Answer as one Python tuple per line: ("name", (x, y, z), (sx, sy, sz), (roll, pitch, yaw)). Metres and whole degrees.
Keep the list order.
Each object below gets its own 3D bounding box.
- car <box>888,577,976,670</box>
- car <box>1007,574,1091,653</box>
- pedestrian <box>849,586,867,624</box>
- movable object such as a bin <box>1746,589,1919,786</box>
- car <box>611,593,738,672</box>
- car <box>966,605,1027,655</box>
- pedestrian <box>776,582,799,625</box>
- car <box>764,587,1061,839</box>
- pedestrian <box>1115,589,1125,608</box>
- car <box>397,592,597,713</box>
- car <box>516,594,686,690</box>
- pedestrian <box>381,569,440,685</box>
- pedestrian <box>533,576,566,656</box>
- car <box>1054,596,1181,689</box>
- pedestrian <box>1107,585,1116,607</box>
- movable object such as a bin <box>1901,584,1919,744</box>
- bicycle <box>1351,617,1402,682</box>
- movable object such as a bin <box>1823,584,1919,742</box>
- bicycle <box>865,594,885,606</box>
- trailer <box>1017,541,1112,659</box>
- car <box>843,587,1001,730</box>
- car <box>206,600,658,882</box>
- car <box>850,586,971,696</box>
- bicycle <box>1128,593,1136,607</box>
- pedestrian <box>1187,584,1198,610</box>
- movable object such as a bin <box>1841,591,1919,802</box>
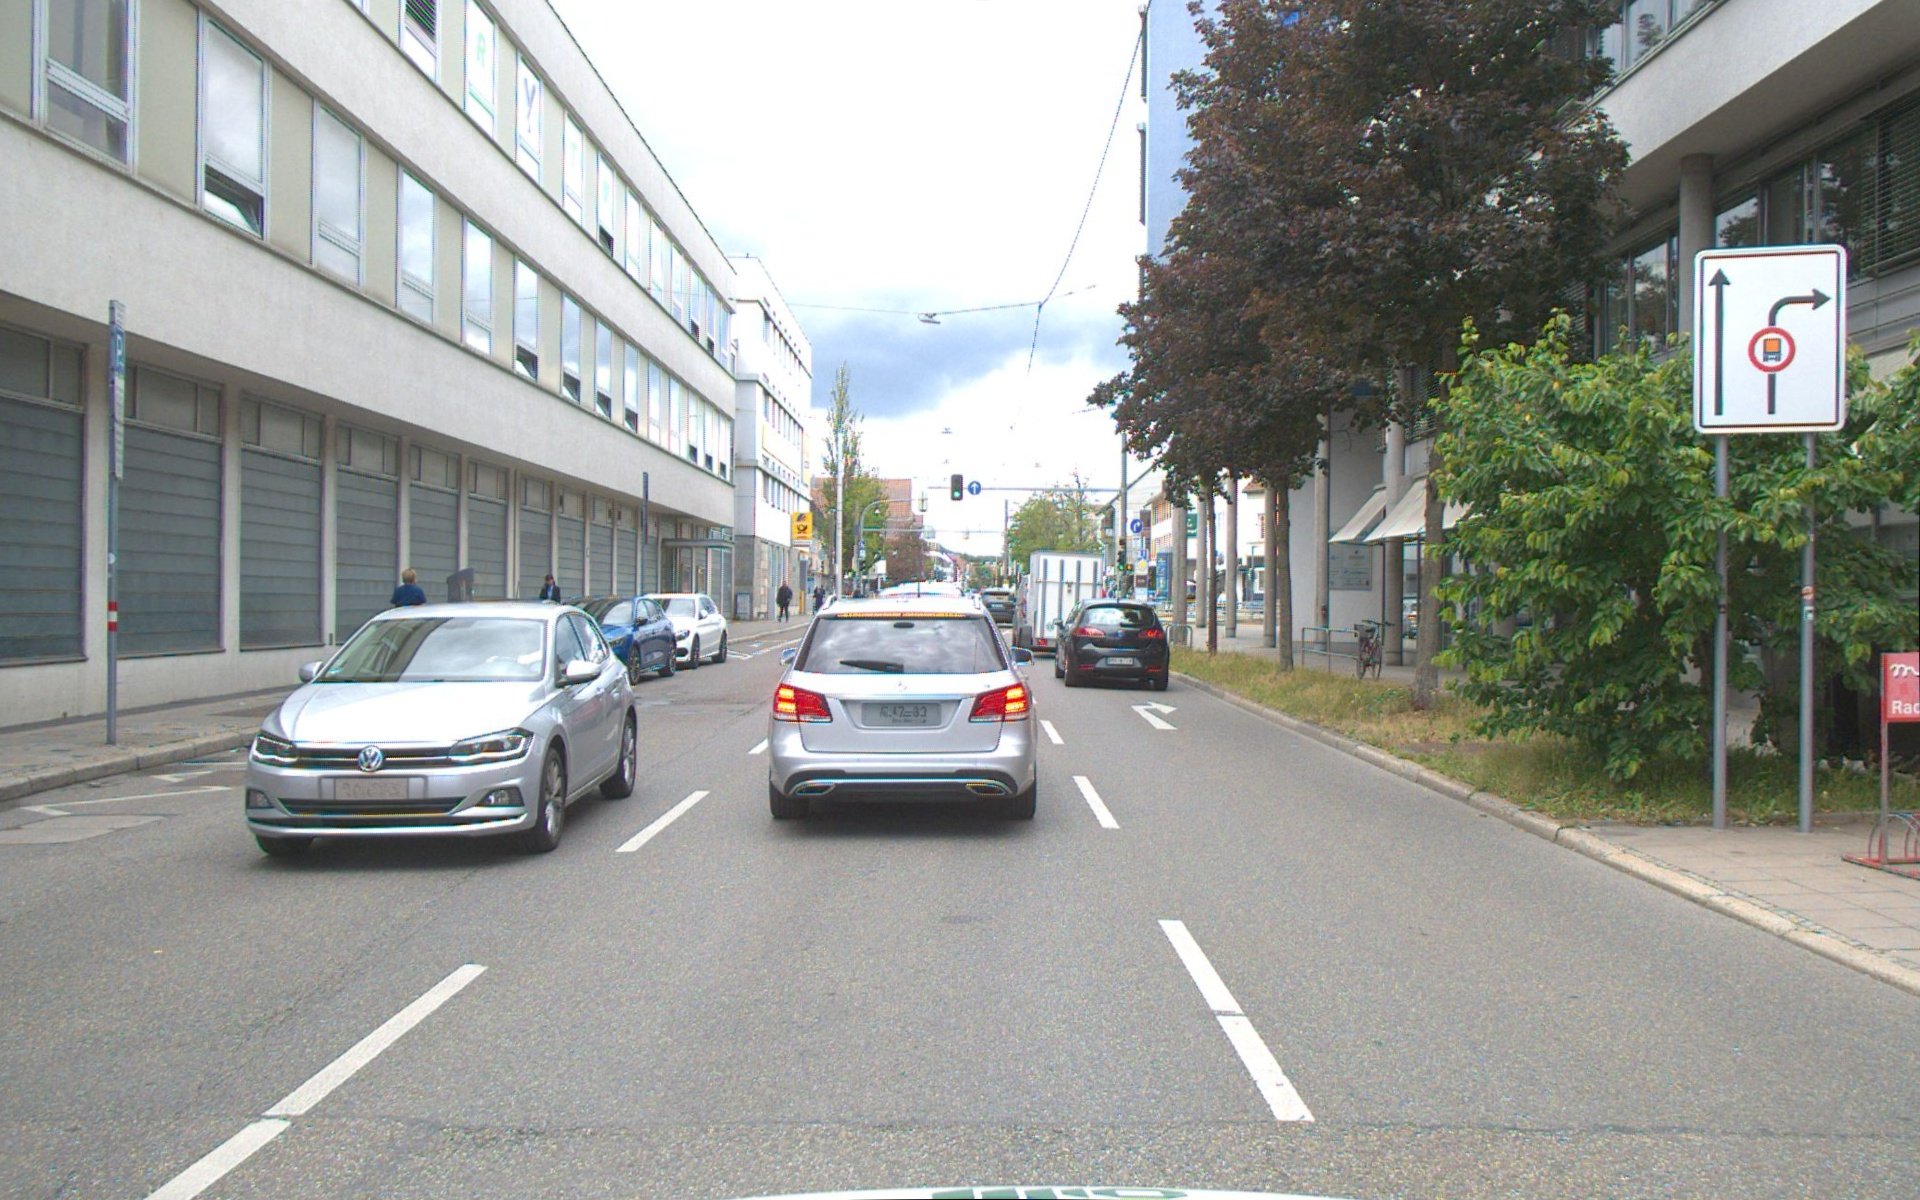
("car", (-0.592, 0.438, 33.872), (1.699, 1.790, 3.999), (0, 0, -2))
("car", (2.375, 0.336, 45.369), (1.840, 1.979, 4.905), (3, 0, -2))
("pedestrian", (-4.717, 0.216, 76.388), (0.634, 1.748, 0.783), (2, 0, 7))
("movable object such as a bin", (7.297, 0.670, 13.452), (1.104, 1.491, 1.412), (-1, 0, -1))
("car", (-5.809, 0.616, 34.114), (1.635, 1.459, 4.554), (-1, 0, 2))
("car", (1.105, 0.914, 51.803), (1.699, 1.435, 3.999), (0, 1, -2))
("pedestrian", (-7.188, 0.147, 68.866), (0.844, 1.748, 1.031), (2, 0, -2))
("car", (-0.343, 0.673, 12.182), (1.808, 1.534, 4.170), (0, 0, -2))
("pedestrian", (12.775, -0.158, 132.064), (0.567, 1.495, 0.650), (1, 0, -7))
("car", (-6.124, 0.638, 22.298), (1.682, 1.450, 3.869), (-1, 0, -2))
("car", (-6.006, 0.650, 28.166), (1.777, 1.450, 4.265), (-1, 0, 2))
("pedestrian", (-8.442, 0.407, 25.448), (0.577, 1.748, 1.055), (0, 0, -2))
("pedestrian", (-9.098, 0.346, 36.654), (0.577, 1.748, 0.649), (0, 0, -2))
("car", (2.626, 0.668, 28.375), (1.699, 1.435, 3.999), (0, 1, -2))
("pedestrian", (12.381, -0.328, 134.861), (0.567, 1.695, 0.650), (1, 0, -7))
("movable object such as a bin", (9.508, 0.591, 15.047), (1.099, 1.491, 1.332), (-1, 0, -2))
("bicycle", (7.575, 0.887, 30.137), (0.353, 1.105, 2.027), (1, 0, -2))
("movable object such as a bin", (9.471, 0.591, 16.407), (1.075, 1.491, 1.332), (-1, 0, -2))
("bicycle", (-8.163, 0.004, 159.283), (1.902, 1.047, 0.529), (1, 0, -9))
("trailer", (2.512, -0.019, 40.761), (1.840, 2.658, 4.322), (3, 0, -2))
("car", (-0.467, 0.622, 19.892), (1.699, 1.534, 3.999), (1, 0, -2))
("car", (-3.217, 0.763, 10.950), (1.763, 1.442, 3.999), (-2, 0, -2))
("car", (-0.746, 0.558, 25.181), (1.699, 1.534, 3.999), (0, 0, -2))
("bicycle", (13.901, 0.027, 133.772), (0.438, 1.127, 2.149), (0, 0, 1))
("pedestrian", (15.817, -0.201, 112.521), (0.634, 1.748, 0.704), (0, 0, 22))
("movable object such as a bin", (7.351, 0.679, 12.081), (1.075, 1.491, 1.332), (-1, 0, -2))
